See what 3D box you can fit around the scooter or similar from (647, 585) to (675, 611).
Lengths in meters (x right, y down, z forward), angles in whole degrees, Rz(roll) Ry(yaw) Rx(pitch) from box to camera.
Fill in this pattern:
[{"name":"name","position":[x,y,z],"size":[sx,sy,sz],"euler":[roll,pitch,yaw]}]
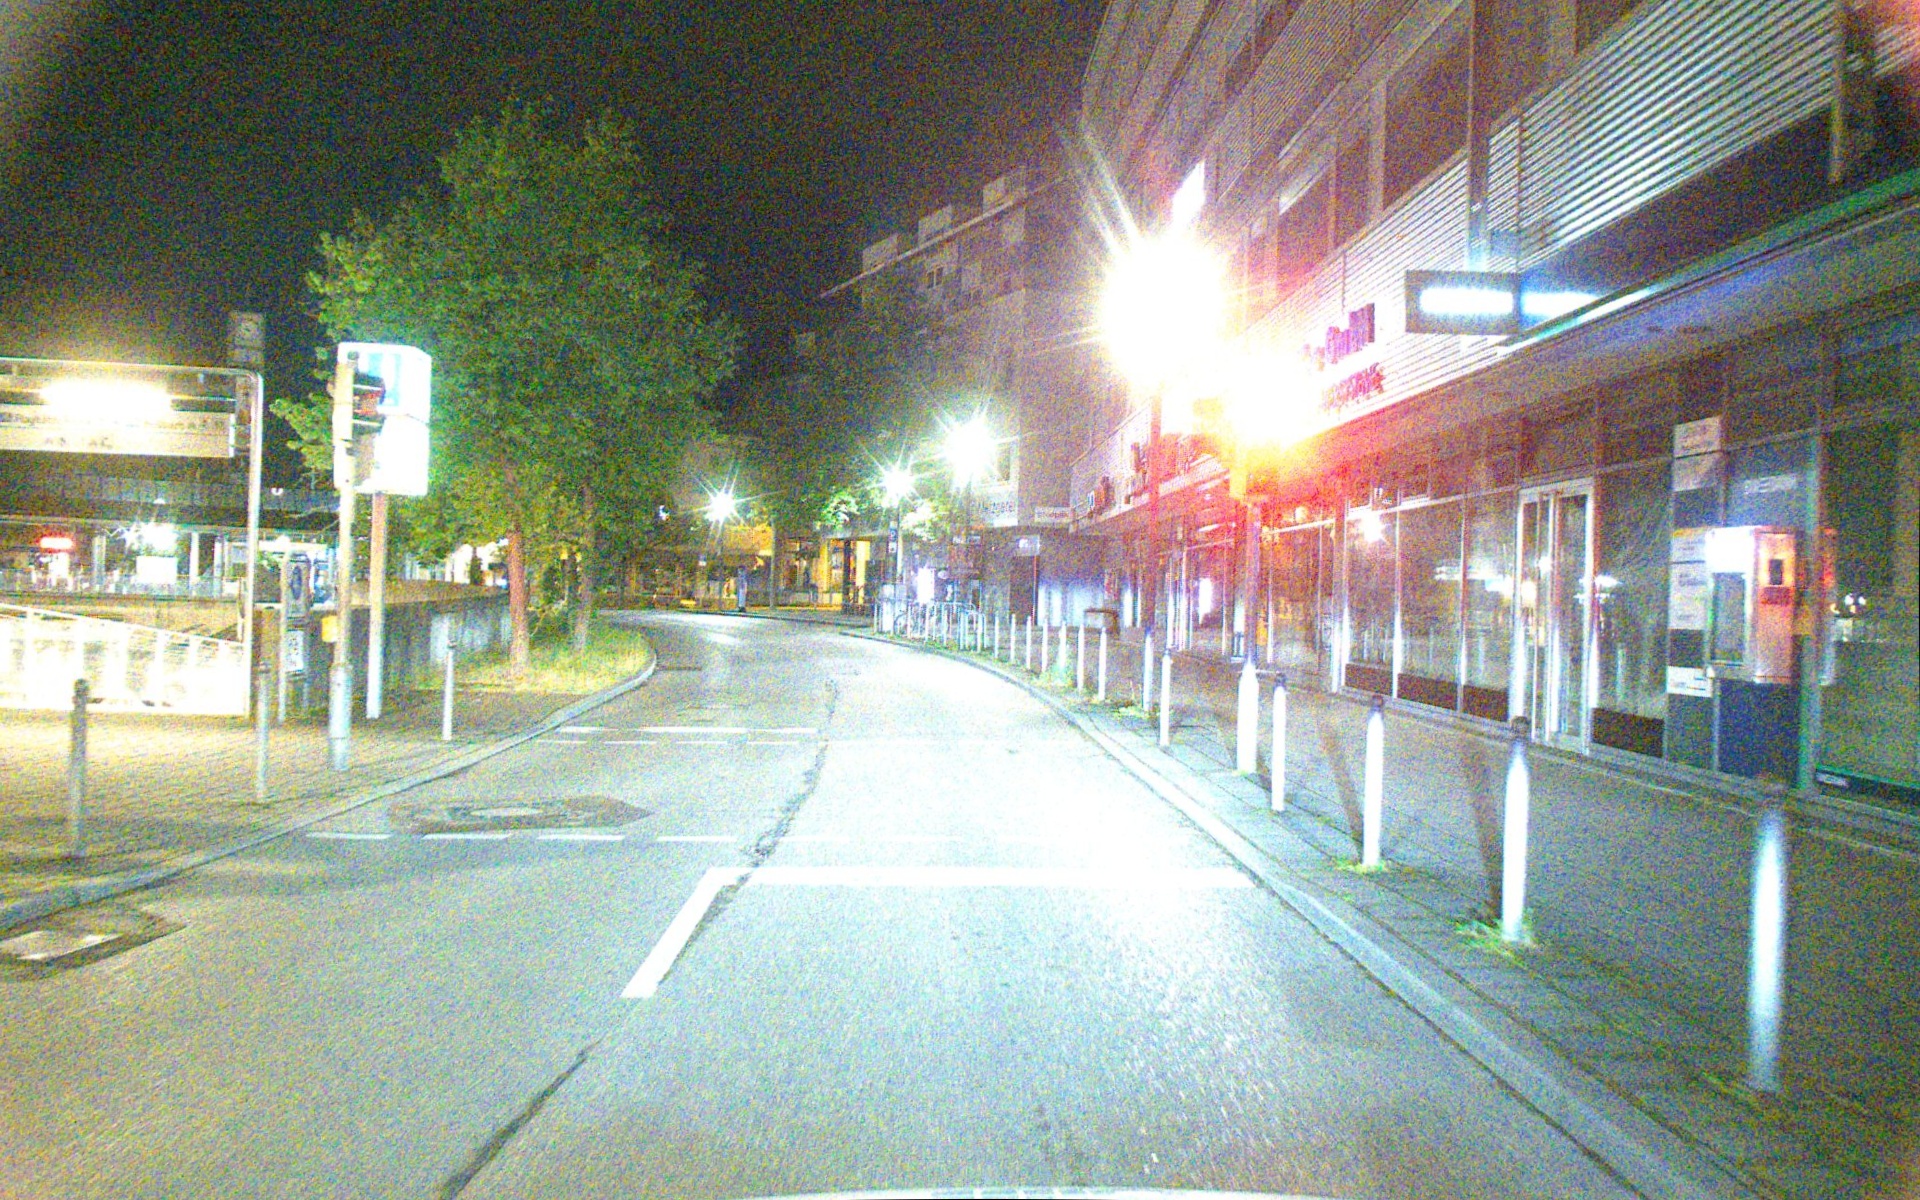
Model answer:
[{"name":"scooter or similar","position":[-15.438,-0.111,85.381],"size":[1.232,1.248,0.593],"euler":[3,0,-29]}]

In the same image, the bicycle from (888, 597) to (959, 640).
[{"name":"bicycle","position":[-0.945,0.476,43.117],"size":[1.728,1.081,0.650],"euler":[1,1,-26]}]

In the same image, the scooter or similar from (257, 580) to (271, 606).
[{"name":"scooter or similar","position":[-35.861,-0.342,85.260],"size":[0.426,1.307,1.133],"euler":[0,1,-35]}]
